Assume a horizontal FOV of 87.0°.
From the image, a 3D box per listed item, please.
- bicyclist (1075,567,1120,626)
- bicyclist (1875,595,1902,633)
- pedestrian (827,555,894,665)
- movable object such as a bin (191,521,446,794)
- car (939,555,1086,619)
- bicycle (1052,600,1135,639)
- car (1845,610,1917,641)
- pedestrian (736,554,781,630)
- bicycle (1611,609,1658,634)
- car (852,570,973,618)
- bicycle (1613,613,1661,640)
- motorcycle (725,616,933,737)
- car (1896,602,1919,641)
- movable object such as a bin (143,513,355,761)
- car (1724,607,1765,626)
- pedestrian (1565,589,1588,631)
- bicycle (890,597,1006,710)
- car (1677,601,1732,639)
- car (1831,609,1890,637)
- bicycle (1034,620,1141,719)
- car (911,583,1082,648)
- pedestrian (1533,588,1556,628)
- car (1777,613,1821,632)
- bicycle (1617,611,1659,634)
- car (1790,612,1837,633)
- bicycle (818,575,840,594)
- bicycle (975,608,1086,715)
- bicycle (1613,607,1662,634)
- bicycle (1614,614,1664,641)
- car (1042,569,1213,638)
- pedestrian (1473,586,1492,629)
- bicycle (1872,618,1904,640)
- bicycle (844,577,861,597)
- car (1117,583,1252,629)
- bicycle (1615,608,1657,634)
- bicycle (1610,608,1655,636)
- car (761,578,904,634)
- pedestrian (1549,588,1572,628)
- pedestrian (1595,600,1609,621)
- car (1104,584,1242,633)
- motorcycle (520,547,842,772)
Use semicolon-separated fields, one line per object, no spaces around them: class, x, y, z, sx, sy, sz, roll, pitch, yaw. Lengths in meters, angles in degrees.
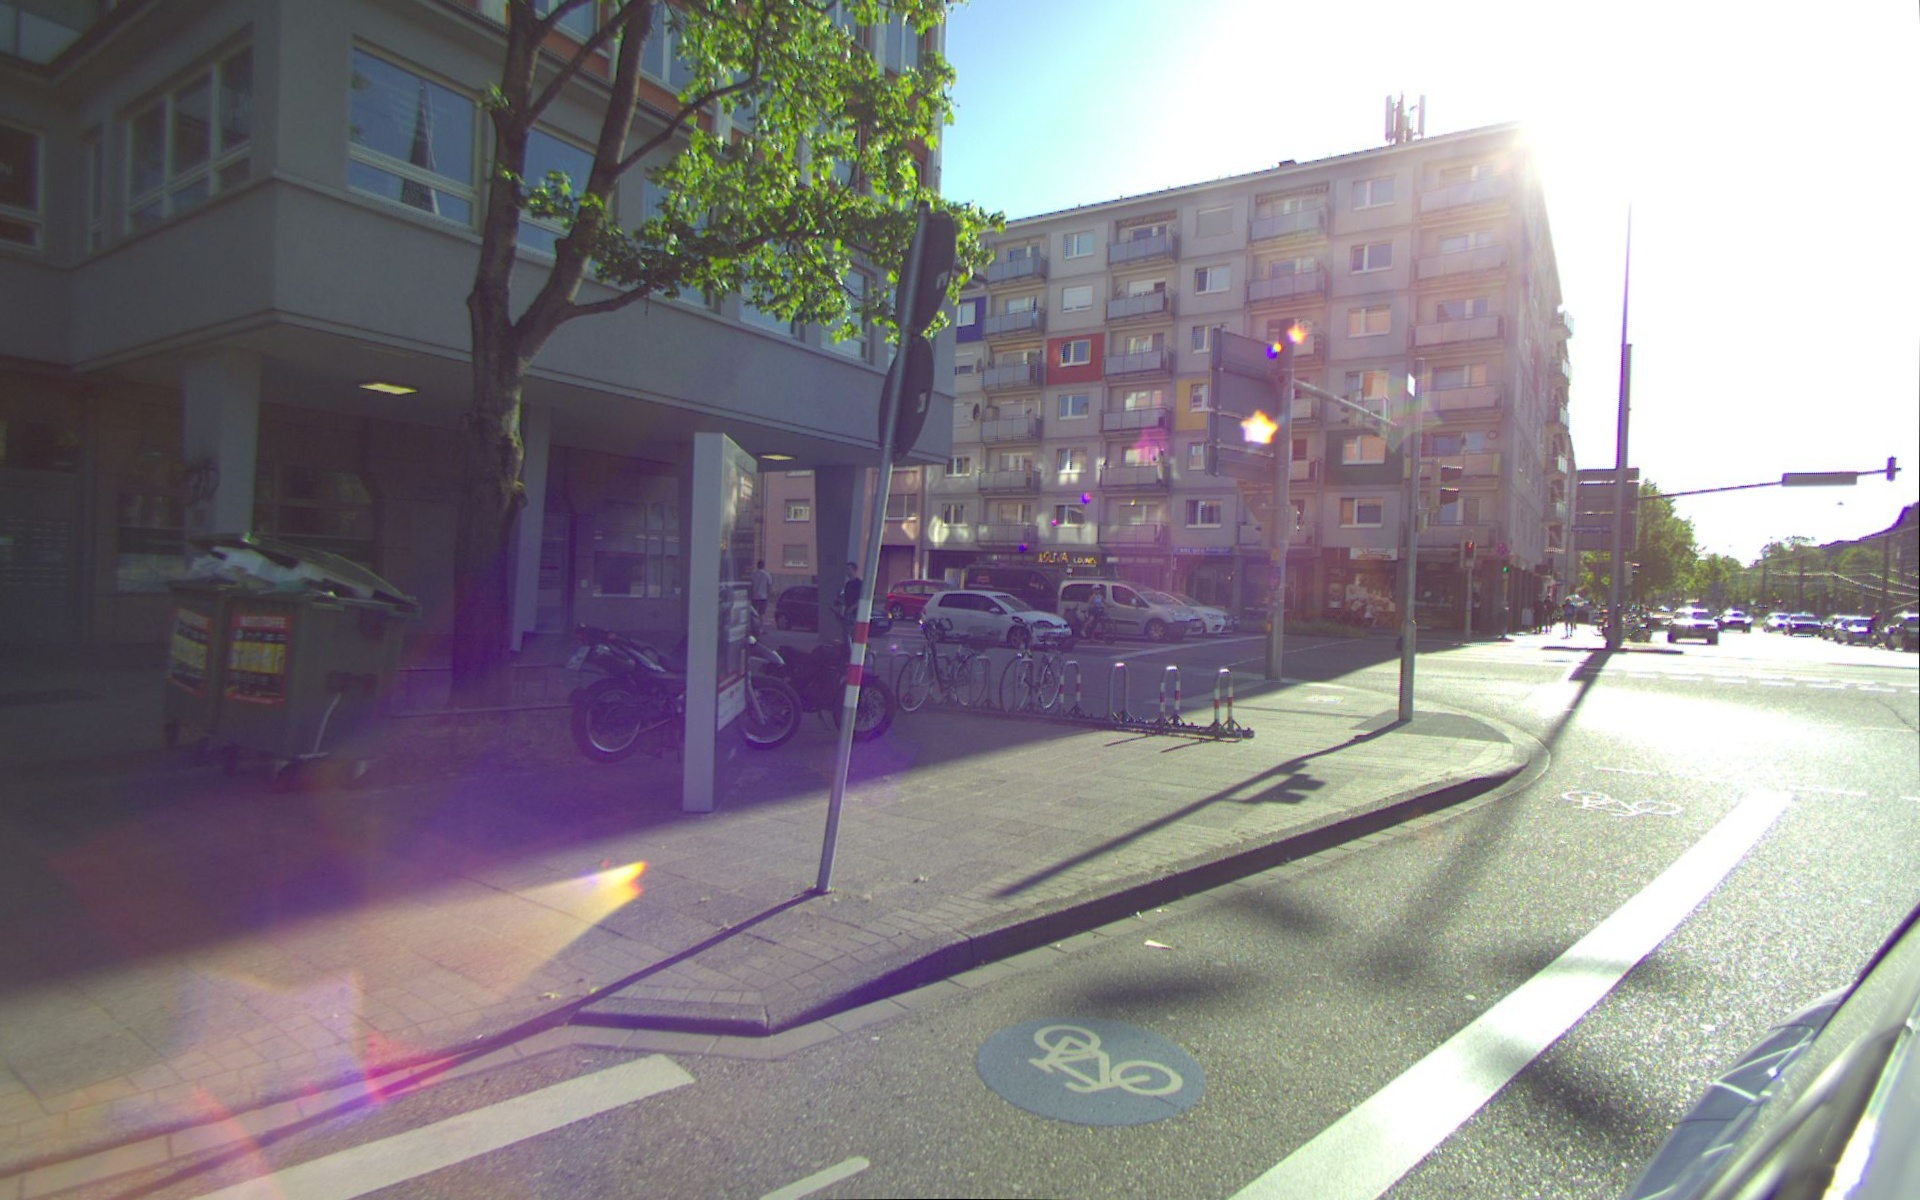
bicyclist;3.781;-0.099;27.856;0.928;1.580;0.931;0;0;31
bicyclist;43.273;0.625;47.168;0.697;1.751;0.846;0;0;28
pedestrian;-1.754;0.164;17.747;0.874;1.868;0.829;0;0;-35
movable object such as a bin;-4.407;0.328;6.958;1.375;1.660;0.996;2;1;33
car;1.980;-0.535;38.989;5.228;2.226;2.345;3;1;38
bicycle;3.681;0.527;27.906;2.132;1.013;0.851;1;0;32
car;46.679;1.256;51.379;1.985;1.447;4.084;1;1;33
pedestrian;-4.860;-0.194;24.438;0.843;1.801;0.898;0;0;6
bicycle;32.275;1.019;48.447;1.808;1.082;0.411;4;3;29
car;-1.809;-0.252;37.641;4.359;1.554;1.802;3;1;37
bicycle;29.670;1.154;44.386;1.743;1.090;0.401;1;0;32
motorcycle;-1.338;0.713;10.095;2.089;1.034;0.753;1;0;35
car;41.324;0.893;42.640;1.985;1.556;4.306;1;1;33
movable object such as a bin;-5.459;0.223;7.771;1.251;1.730;0.934;3;2;33
car;58.321;1.213;75.302;1.974;1.308;4.341;2;1;33
pedestrian;27.093;0.439;44.483;0.786;1.799;0.864;2;0;33
bicycle;-0.110;0.604;12.387;0.529;1.259;1.827;0;0;31
car;36.294;0.955;49.429;1.890;1.708;4.068;2;1;33
car;51.397;1.290;57.820;1.879;1.448;4.084;1;0;33
bicycle;1.534;0.764;11.855;0.473;0.997;2.098;0;1;30
car;0.933;0.343;26.477;4.131;1.521;1.825;1;2;32
pedestrian;27.667;0.363;47.906;0.860;1.858;1.197;2;1;32
car;62.566;1.648;75.562;1.974;1.308;4.276;2;1;33
bicycle;30.167;1.009;45.066;1.537;0.978;0.382;1;0;34
car;57.025;1.476;67.680;1.846;1.308;4.047;2;1;33
bicycle;-7.909;-0.955;61.172;0.676;1.004;1.916;0;5;11
bicycle;0.884;0.685;12.134;0.473;1.131;2.098;0;1;30
bicycle;29.916;0.901;44.720;1.742;1.113;0.395;3;2;32
bicycle;29.334;1.195;43.747;1.691;1.023;0.406;4;2;31
car;4.871;0.061;29.640;4.569;1.873;1.924;1;1;34
pedestrian;22.487;0.322;43.552;0.566;1.795;0.654;2;0;41
bicycle;43.273;1.349;47.187;0.625;0.951;1.888;0;1;27
bicycle;-6.353;-0.777;59.982;0.675;1.004;1.921;0;5;4
car;7.682;0.160;34.844;4.148;1.487;1.943;1;1;44
bicycle;28.658;0.885;42.935;1.425;1.023;0.405;4;2;35
bicycle;33.017;1.065;49.706;1.767;1.244;0.411;3;1;29
car;-3.772;0.125;29.668;4.132;1.444;1.560;2;3;32
pedestrian;29.527;0.376;49.754;0.788;1.909;0.862;2;1;40
pedestrian;50.004;0.816;78.839;0.660;1.671;0.771;1;1;-45
car;6.797;0.228;32.419;3.969;1.458;1.828;1;1;32
motorcycle;-2.158;0.413;8.239;0.801;1.559;2.508;1;0;39
